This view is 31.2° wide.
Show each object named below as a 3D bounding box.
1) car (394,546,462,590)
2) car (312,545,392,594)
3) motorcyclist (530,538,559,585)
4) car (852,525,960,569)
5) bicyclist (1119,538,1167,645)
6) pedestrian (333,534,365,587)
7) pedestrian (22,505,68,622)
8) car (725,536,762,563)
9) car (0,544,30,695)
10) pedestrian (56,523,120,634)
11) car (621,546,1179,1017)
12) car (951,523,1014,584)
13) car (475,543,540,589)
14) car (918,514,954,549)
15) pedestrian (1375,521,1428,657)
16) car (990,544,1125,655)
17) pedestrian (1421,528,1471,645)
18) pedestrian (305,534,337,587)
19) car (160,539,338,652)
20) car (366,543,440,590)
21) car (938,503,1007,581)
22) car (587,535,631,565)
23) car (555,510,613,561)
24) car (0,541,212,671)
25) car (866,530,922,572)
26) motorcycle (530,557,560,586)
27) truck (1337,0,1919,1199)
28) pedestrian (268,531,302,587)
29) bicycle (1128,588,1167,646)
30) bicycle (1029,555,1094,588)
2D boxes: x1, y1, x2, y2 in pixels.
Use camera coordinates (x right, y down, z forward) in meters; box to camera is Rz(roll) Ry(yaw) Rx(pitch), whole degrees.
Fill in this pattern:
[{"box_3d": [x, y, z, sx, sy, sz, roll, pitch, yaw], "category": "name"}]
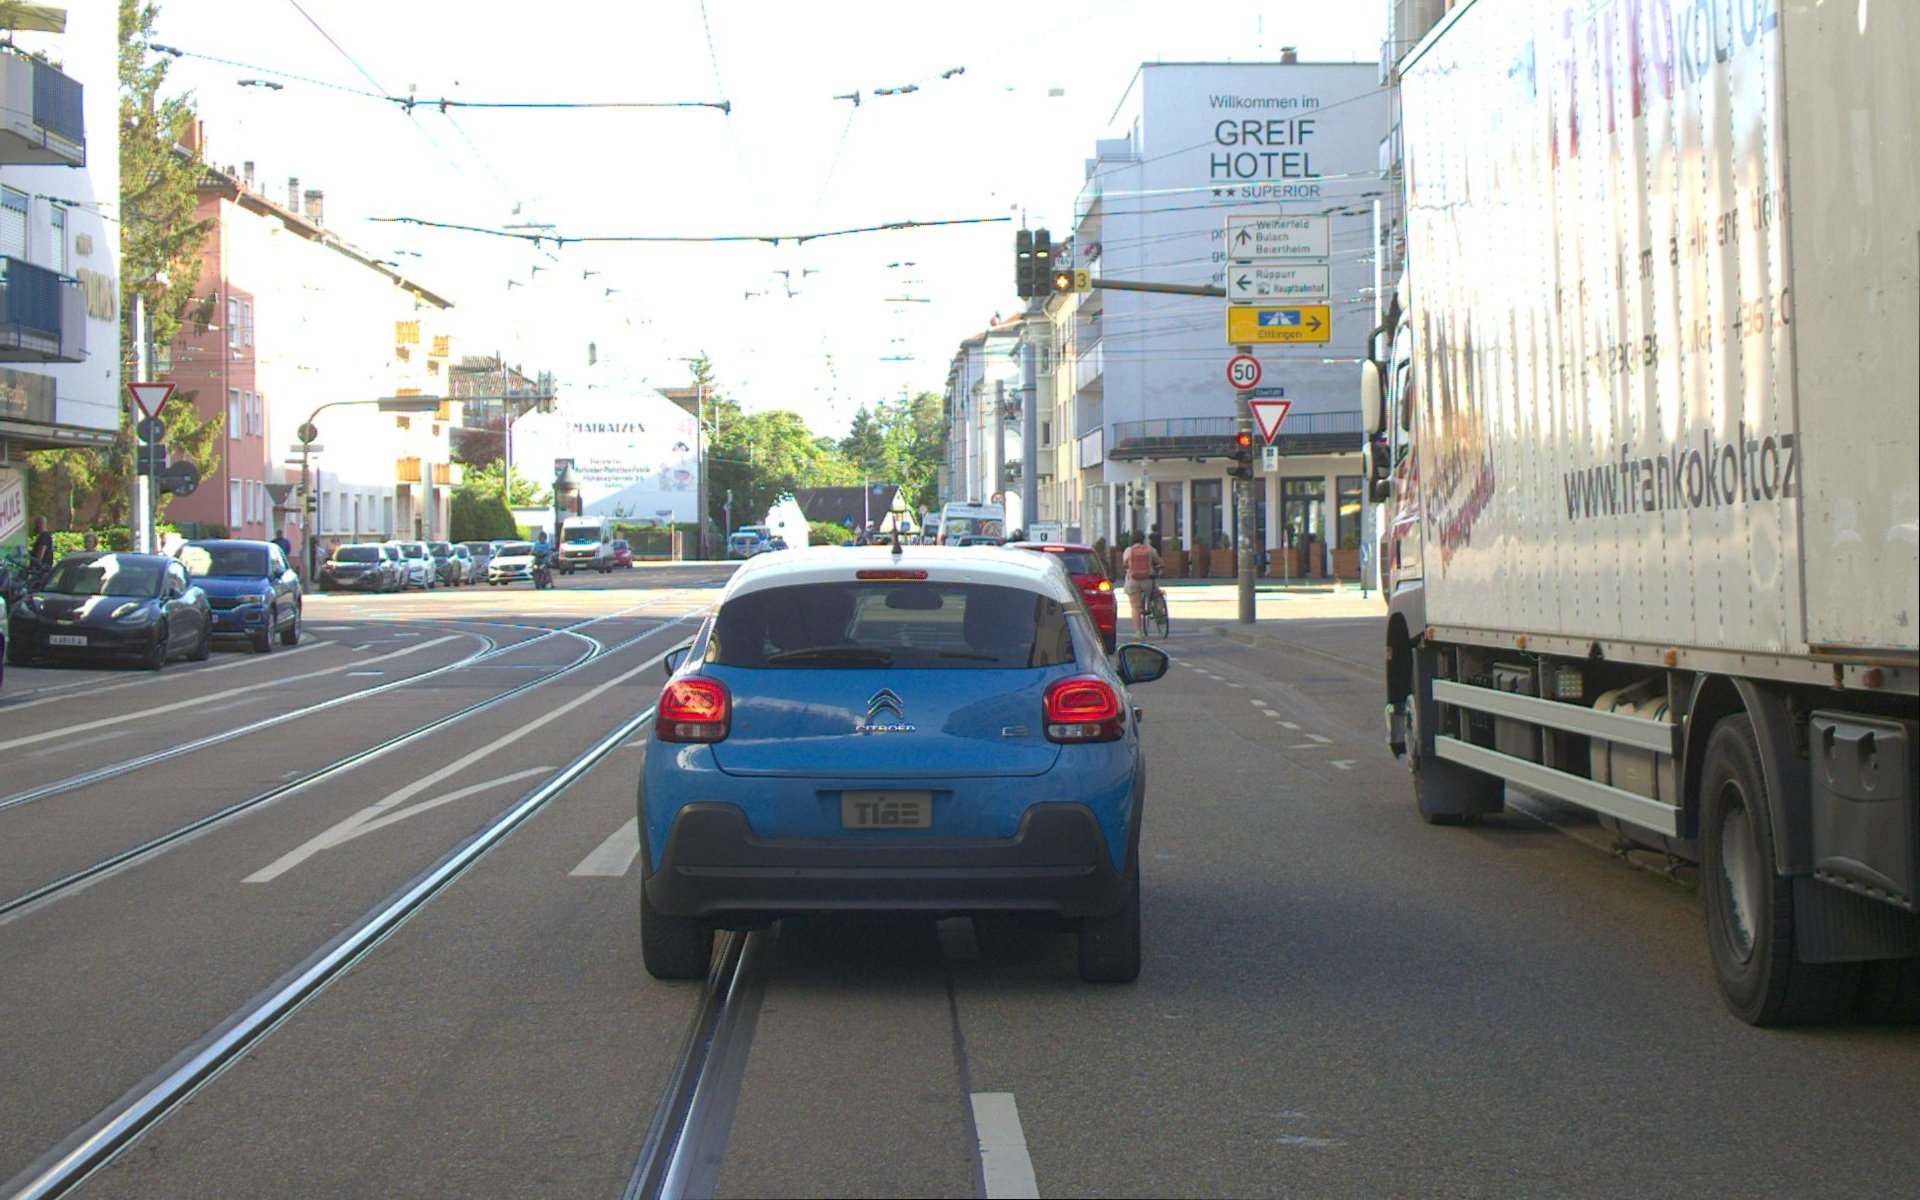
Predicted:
[{"box_3d": [-18.558, -1.142, 120.024, 1.911, 1.492, 4.001, 0, 1, -2], "category": "car"}, {"box_3d": [-18.165, -0.923, 102.859, 1.911, 1.428, 4.001, 0, 1, -3], "category": "car"}, {"box_3d": [-12.193, -1.125, 100.890, 0.719, 1.373, 0.911, 0, 1, 2], "category": "motorcyclist"}, {"box_3d": [-1.993, -1.970, 127.757, 3.987, 1.634, 1.814, 0, 1, 1], "category": "car"}, {"box_3d": [2.822, -0.139, 53.173, 0.726, 1.640, 0.790, 0, 1, 2], "category": "bicyclist"}, {"box_3d": [-19.554, -1.263, 110.071, 0.844, 1.684, 0.737, 0, 1, 5], "category": "pedestrian"}, {"box_3d": [-15.761, -0.627, 59.236, 0.686, 2.007, 0.486, 0, 1, -4], "category": "pedestrian"}, {"box_3d": [-12.797, -2.986, 203.283, 2.021, 1.520, 4.001, 0, 1, -2], "category": "car"}, {"box_3d": [-10.364, 0.178, 33.123, 1.699, 1.504, 4.387, 2, 0, -2], "category": "car"}, {"box_3d": [-12.330, -0.310, 48.629, 0.697, 1.543, 0.721, 0, 2, 2], "category": "pedestrian"}, {"box_3d": [-0.328, 0.551, 12.949, 1.743, 1.457, 4.001, 1, 1, -4], "category": "car"}, {"box_3d": [0.639, -1.358, 100.728, 1.732, 1.744, 3.214, 1, 1, -1], "category": "car"}, {"box_3d": [-15.965, -1.230, 121.534, 1.849, 1.568, 4.401, 0, 1, -2], "category": "car"}, {"box_3d": [-1.156, -3.286, 164.824, 1.689, 1.612, 4.000, 1, 1, 0], "category": "car"}, {"box_3d": [5.574, -0.144, 43.413, 0.541, 1.666, 0.624, -2, 2, 0], "category": "pedestrian"}, {"box_3d": [1.331, -0.039, 46.707, 1.738, 1.415, 4.000, 0, 1, 2], "category": "car"}, {"box_3d": [6.376, -0.181, 45.102, 0.541, 1.502, 0.611, -2, 2, 0], "category": "pedestrian"}, {"box_3d": [-20.435, -1.278, 110.001, 0.844, 1.684, 0.737, 0, 1, 5], "category": "pedestrian"}, {"box_3d": [-10.158, -0.072, 49.362, 1.744, 1.504, 4.000, 2, 0, -1], "category": "car"}, {"box_3d": [-18.327, -1.111, 113.225, 1.911, 1.492, 4.001, 0, 1, -2], "category": "car"}, {"box_3d": [0.369, -1.769, 105.654, 1.993, 2.317, 4.000, 1, 1, -1], "category": "car"}, {"box_3d": [-18.211, -2.629, 178.619, 2.021, 1.520, 4.001, 0, 1, -2], "category": "car"}, {"box_3d": [-16.727, -2.881, 153.234, 2.207, 2.243, 4.677, 0, 1, -2], "category": "car"}, {"box_3d": [-10.728, 0.051, 43.254, 1.699, 1.504, 4.312, 2, 0, -1], "category": "car"}, {"box_3d": [-2.400, -1.775, 124.108, 1.993, 1.503, 4.000, 0, 1, -1], "category": "car"}, {"box_3d": [-12.199, -0.841, 101.049, 0.615, 0.861, 1.671, 0, 1, 2], "category": "motorcycle"}, {"box_3d": [3.599, -0.750, 13.869, 2.860, 4.059, 11.779, 0, 1, 0], "category": "truck"}, {"box_3d": [-20.255, -1.233, 103.202, 0.844, 1.684, 0.737, 0, 1, 5], "category": "pedestrian"}, {"box_3d": [2.914, 0.250, 53.571, 0.498, 0.861, 1.749, 0, 1, 0], "category": "bicycle"}, {"box_3d": [2.955, -0.818, 100.157, 1.874, 0.953, 0.701, 0, 1, 4], "category": "bicycle"}]
